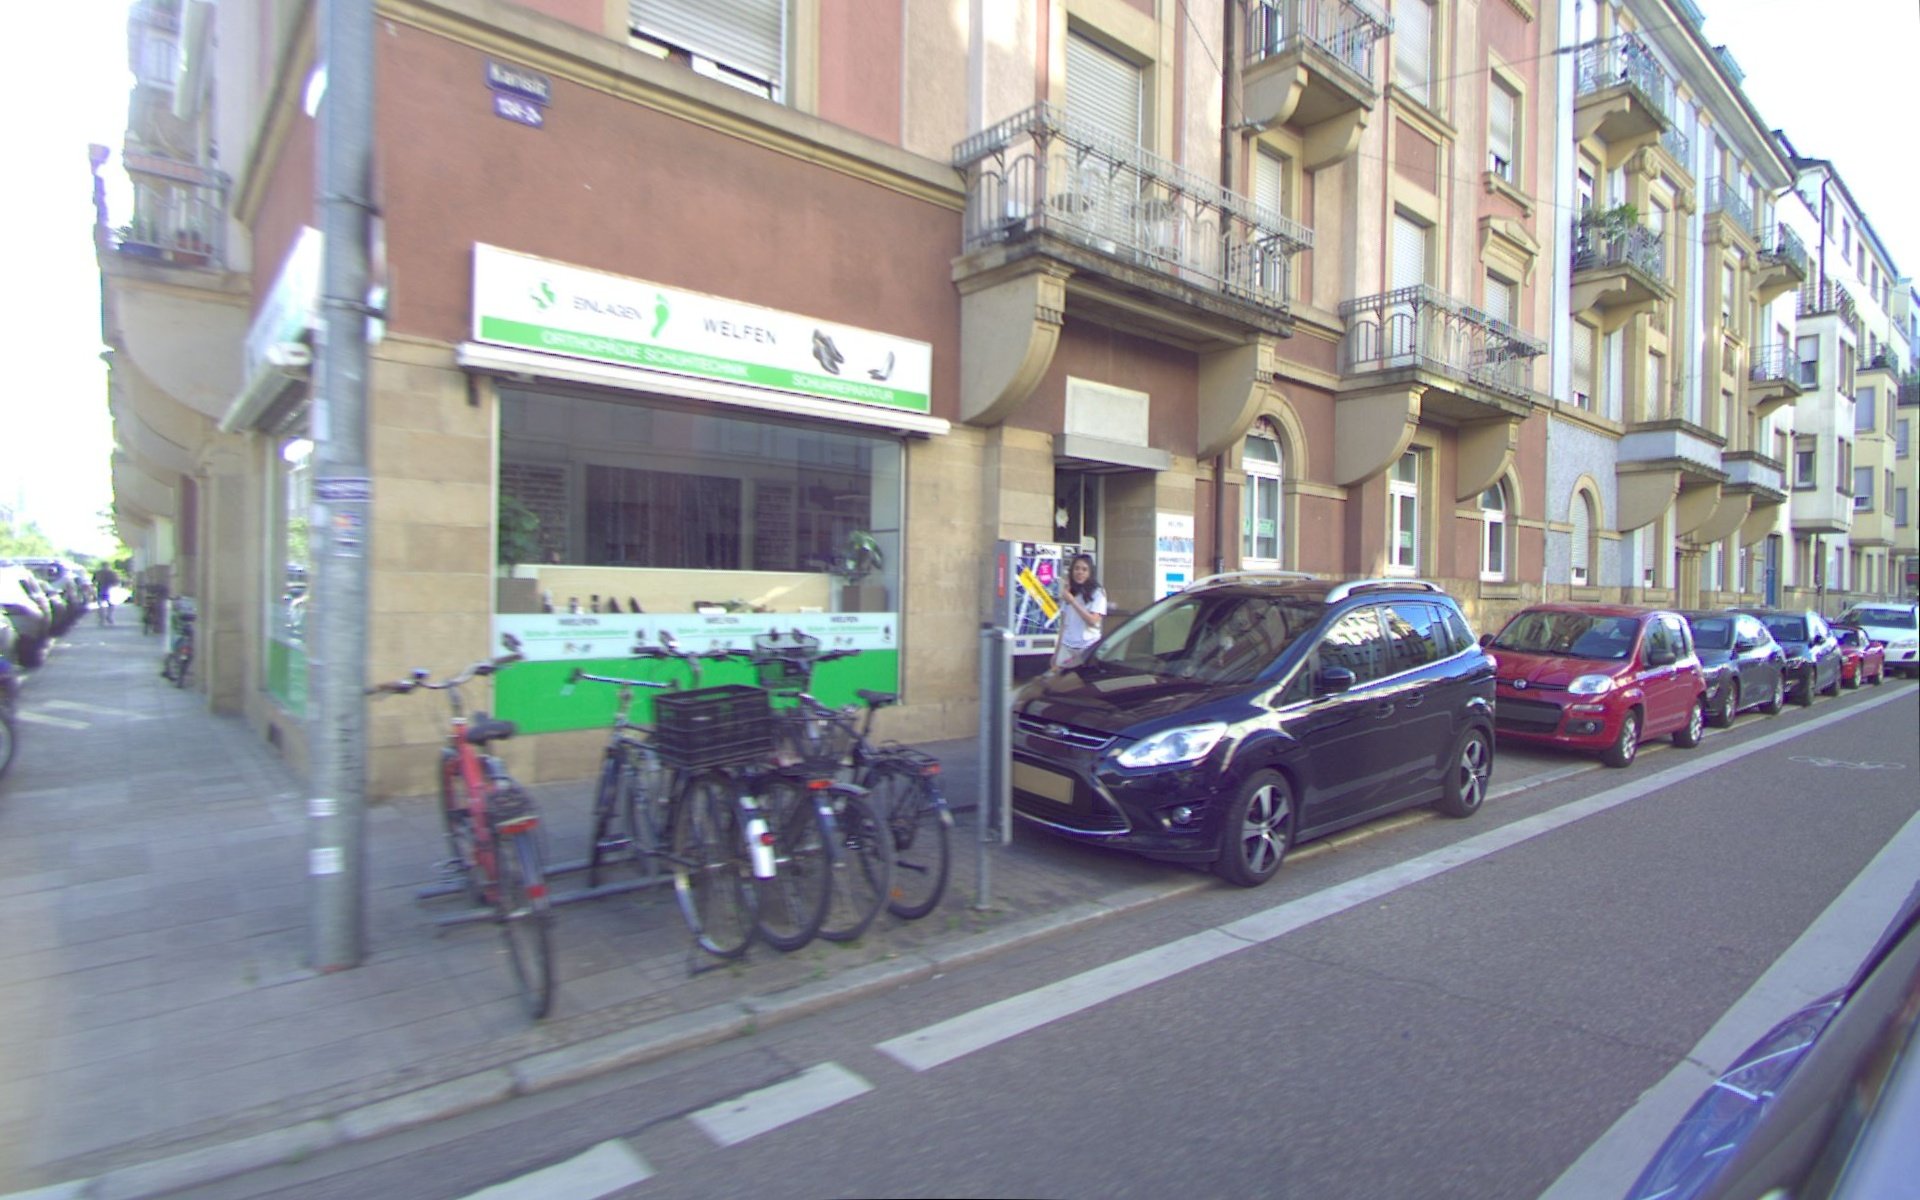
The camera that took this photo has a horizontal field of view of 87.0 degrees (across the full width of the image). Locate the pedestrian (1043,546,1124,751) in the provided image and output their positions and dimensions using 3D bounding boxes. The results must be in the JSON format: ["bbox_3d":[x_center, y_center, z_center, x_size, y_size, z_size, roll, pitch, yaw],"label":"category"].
[{"bbox_3d":[1.068,0.399,8.769,0.440,1.708,0.514,1,0,-41],"label":"pedestrian"}]

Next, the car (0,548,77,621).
[{"bbox_3d":[-28.829,-0.495,31.640,1.781,2.146,3.995,1,1,-41],"label":"car"}]

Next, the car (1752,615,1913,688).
[{"bbox_3d":[17.799,0.978,20.578,4.422,1.264,1.659,0,1,-38],"label":"car"}]

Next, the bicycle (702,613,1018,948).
[{"bbox_3d":[-0.585,0.737,4.979,0.517,1.242,1.964,1,2,-39],"label":"bicycle"}]

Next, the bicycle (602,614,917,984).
[{"bbox_3d":[-1.007,0.737,4.607,0.517,1.242,1.964,1,2,-39],"label":"bicycle"}]

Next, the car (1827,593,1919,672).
[{"bbox_3d":[22.499,0.726,24.329,4.425,1.712,1.847,0,1,-40],"label":"car"}]

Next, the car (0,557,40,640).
[{"bbox_3d":[-20.573,-0.074,21.272,1.666,1.652,3.995,1,1,-40],"label":"car"}]

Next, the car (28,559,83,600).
[{"bbox_3d":[-41.872,-0.954,46.929,1.781,1.849,3.995,1,1,-41],"label":"car"}]

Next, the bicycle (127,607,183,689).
[{"bbox_3d":[-9.945,0.561,12.492,0.481,0.890,1.726,1,1,-40],"label":"bicycle"}]

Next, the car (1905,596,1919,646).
[{"bbox_3d":[34.813,0.743,35.509,4.479,1.686,1.863,0,1,-39],"label":"car"}]

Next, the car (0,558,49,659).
[{"bbox_3d":[-16.459,0.085,16.932,1.666,1.571,4.064,1,1,-40],"label":"car"}]

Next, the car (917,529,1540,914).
[{"bbox_3d":[2.027,0.531,6.807,4.426,1.756,1.758,0,4,-40],"label":"car"}]

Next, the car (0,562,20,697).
[{"bbox_3d":[-12.345,0.293,11.977,1.612,1.515,3.499,1,1,-41],"label":"car"}]

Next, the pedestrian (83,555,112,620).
[{"bbox_3d":[-24.647,-0.360,28.927,0.598,1.820,0.731,1,0,-41],"label":"pedestrian"}]

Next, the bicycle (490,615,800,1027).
[{"bbox_3d":[-1.412,0.738,4.232,0.517,1.242,1.964,1,2,-39],"label":"bicycle"}]

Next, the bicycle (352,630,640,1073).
[{"bbox_3d":[-1.867,0.769,3.889,0.517,1.175,1.928,1,2,-39],"label":"bicycle"}]

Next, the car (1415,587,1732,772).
[{"bbox_3d":[6.600,0.701,10.758,3.662,1.614,1.757,0,1,-39],"label":"car"}]

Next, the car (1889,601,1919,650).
[{"bbox_3d":[30.650,0.795,31.881,3.964,1.460,1.739,0,1,-43],"label":"car"}]

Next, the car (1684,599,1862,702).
[{"bbox_3d":[13.992,0.769,17.324,4.397,1.502,1.657,0,1,-42],"label":"car"}]

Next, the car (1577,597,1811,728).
[{"bbox_3d":[10.331,0.751,14.119,4.395,1.532,1.657,0,1,-41],"label":"car"}]
